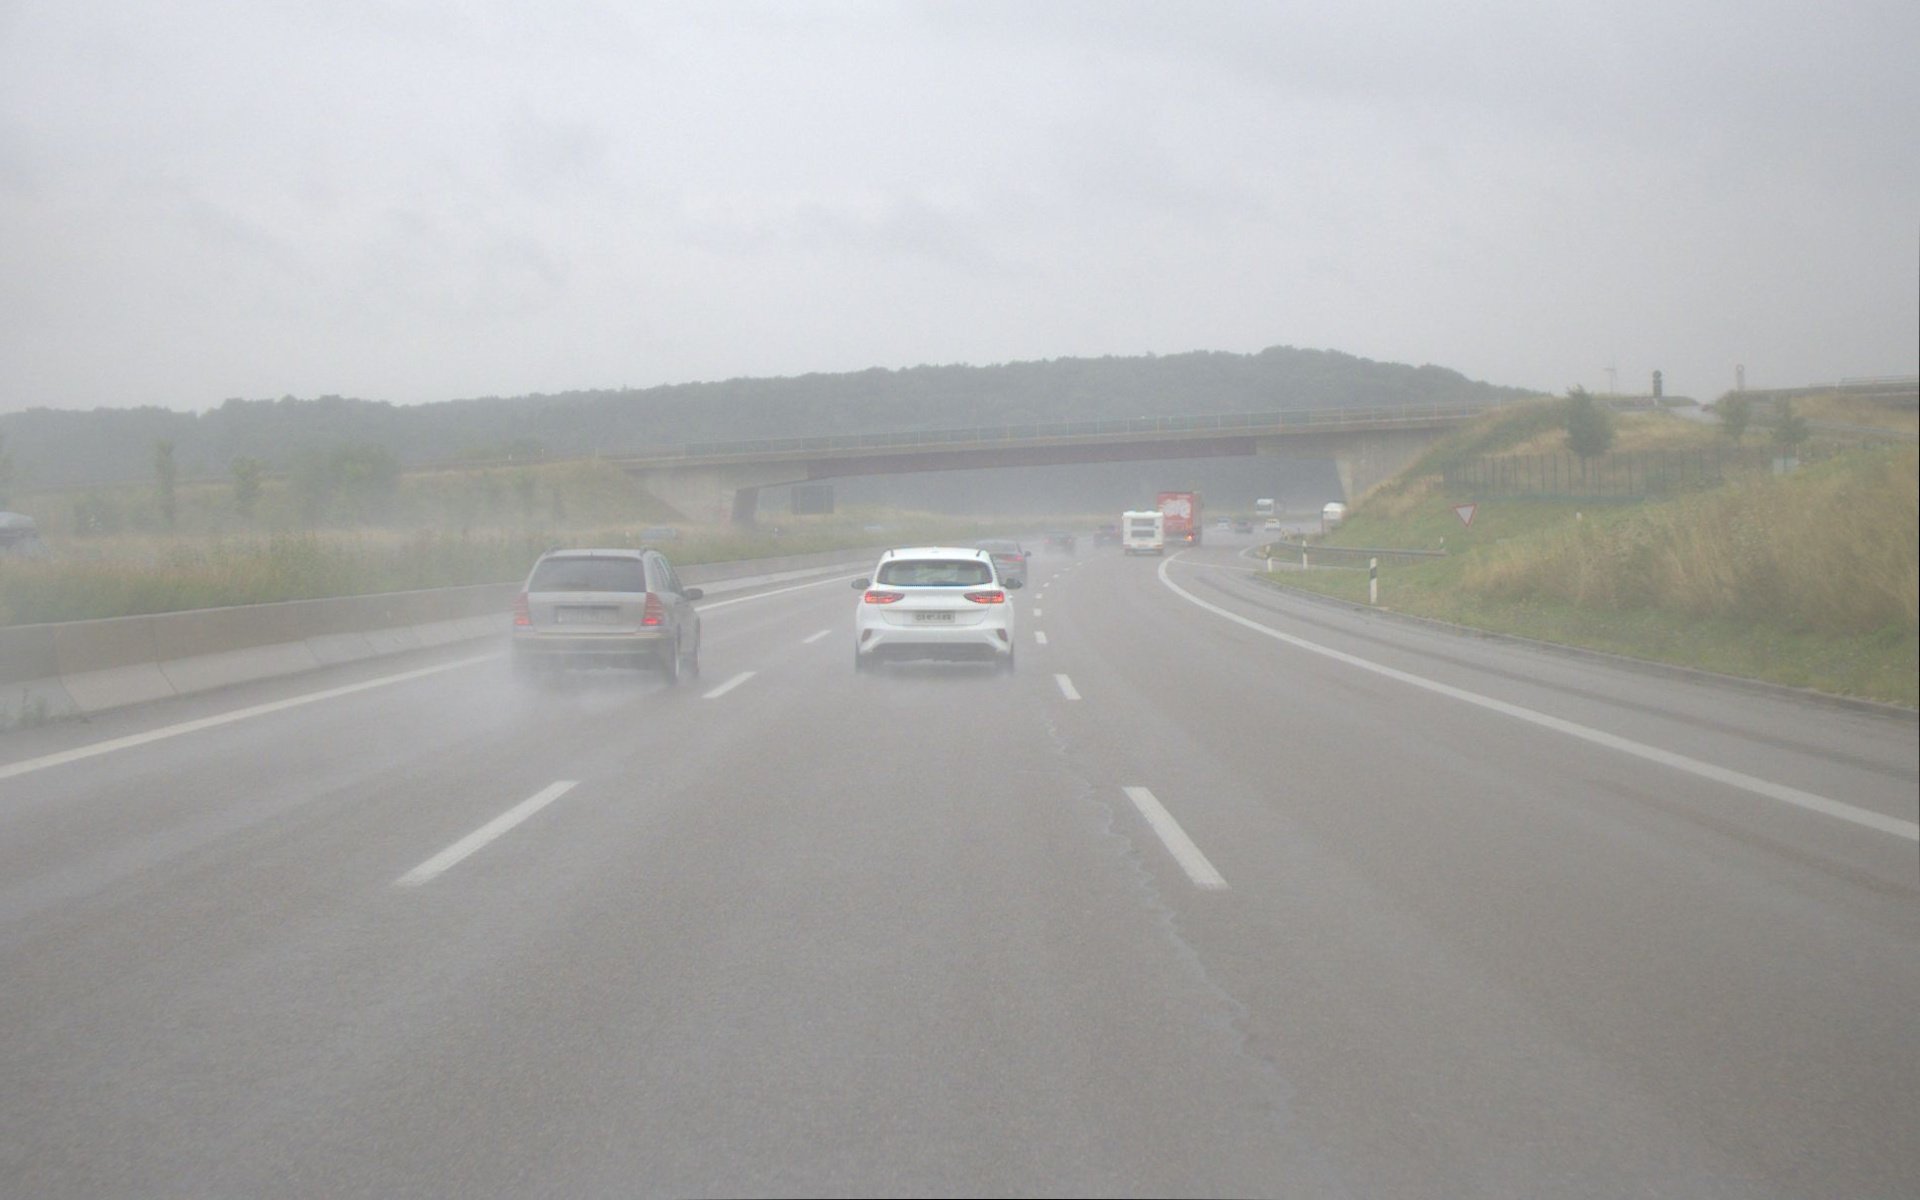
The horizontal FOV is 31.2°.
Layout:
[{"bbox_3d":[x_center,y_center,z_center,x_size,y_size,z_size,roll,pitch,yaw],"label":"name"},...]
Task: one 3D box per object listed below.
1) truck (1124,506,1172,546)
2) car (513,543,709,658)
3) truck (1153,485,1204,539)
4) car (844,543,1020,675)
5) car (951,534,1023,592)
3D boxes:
[{"bbox_3d":[10.747,-4.223,196.026,2.408,2.244,4.692,0,1,7],"label":"truck"},{"bbox_3d":[-3.717,-0.011,37.242,1.823,1.152,4.213,1,0,-2],"label":"car"},{"bbox_3d":[15.930,-6.440,251.114,3.527,3.730,11.426,0,2,3],"label":"truck"},{"bbox_3d":[-0.376,0.072,39.866,1.867,1.458,4.001,0,1,-3],"label":"car"},{"bbox_3d":[0.806,-1.095,100.532,1.993,1.612,4.000,0,1,2],"label":"car"}]
